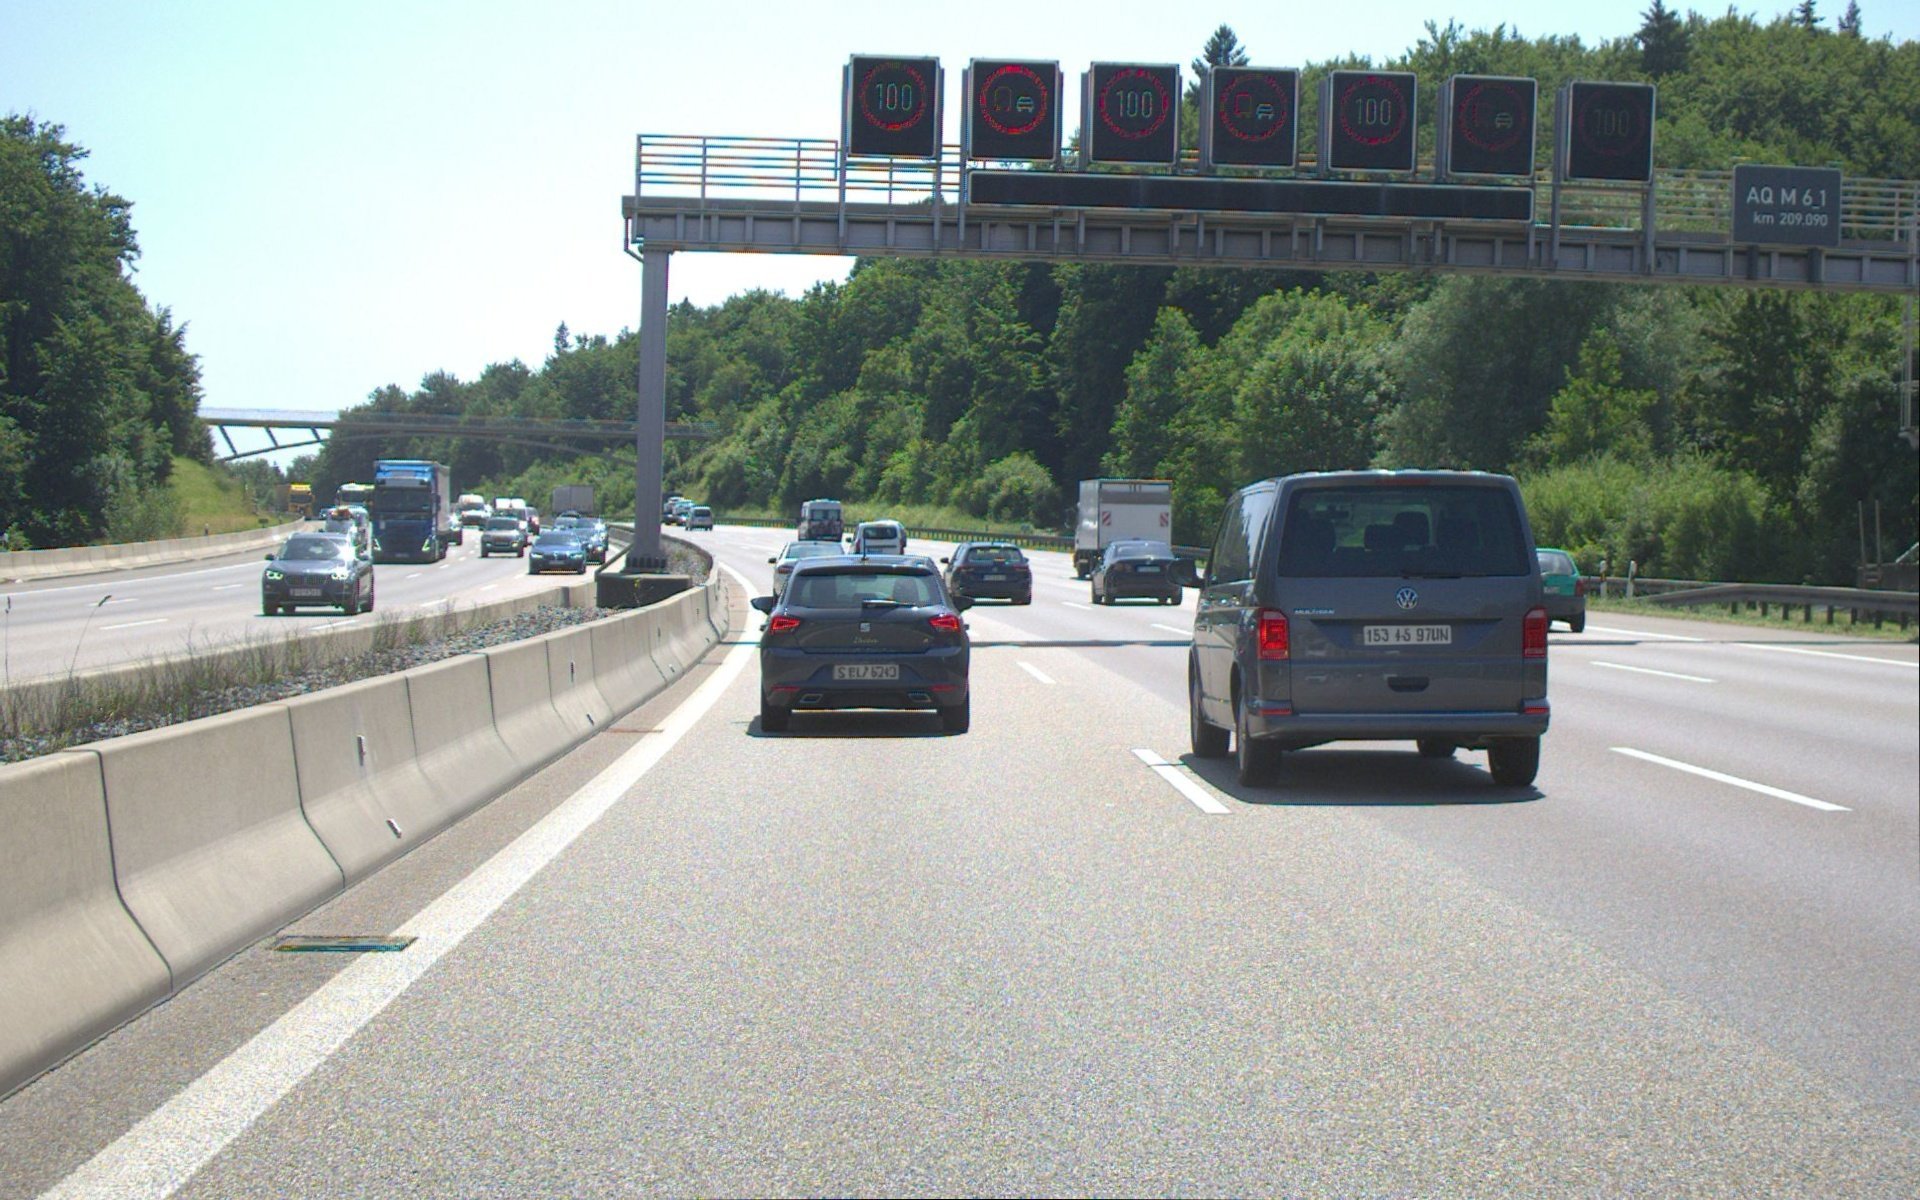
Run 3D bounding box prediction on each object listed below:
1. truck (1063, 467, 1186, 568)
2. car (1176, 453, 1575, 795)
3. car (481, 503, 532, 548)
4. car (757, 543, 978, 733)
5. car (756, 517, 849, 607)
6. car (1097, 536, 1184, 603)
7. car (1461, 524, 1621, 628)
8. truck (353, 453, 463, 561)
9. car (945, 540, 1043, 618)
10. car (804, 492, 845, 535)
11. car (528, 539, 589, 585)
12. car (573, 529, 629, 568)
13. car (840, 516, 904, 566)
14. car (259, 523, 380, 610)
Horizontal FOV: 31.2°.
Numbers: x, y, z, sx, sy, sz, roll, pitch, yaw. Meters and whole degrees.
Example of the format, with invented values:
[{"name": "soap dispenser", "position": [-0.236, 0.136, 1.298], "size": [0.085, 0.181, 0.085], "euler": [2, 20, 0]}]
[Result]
[{"name": "truck", "position": [5.299, -2.718, 112.224], "size": [2.985, 3.156, 7.576], "euler": [0, 2, -5]}, {"name": "car", "position": [2.628, 0.103, 22.943], "size": [1.963, 2.026, 5.084], "euler": [0, 1, -1]}, {"name": "car", "position": [-20.160, -3.312, 152.977], "size": [1.993, 1.960, 4.784], "euler": [0, 1, -5]}, {"name": "car", "position": [-0.780, 0.268, 28.994], "size": [1.708, 1.428, 4.001], "euler": [1, 1, -2]}, {"name": "car", "position": [-3.526, -0.813, 76.785], "size": [2.012, 1.839, 4.000], "euler": [0, -2, -3]}, {"name": "car", "position": [4.083, -0.716, 78.210], "size": [1.665, 1.403, 4.904], "euler": [1, 2, -1]}, {"name": "car", "position": [9.915, -0.426, 58.944], "size": [1.993, 1.722, 4.000], "euler": [0, 1, -1]}, {"name": "truck", "position": [-22.221, -3.716, 138.721], "size": [3.785, 4.163, 5.880], "euler": [1, 1, -4]}, {"name": "car", "position": [0.752, -0.471, 78.663], "size": [1.993, 1.722, 4.149], "euler": [0, 0, -3]}, {"name": "car", "position": [-7.677, -4.896, 195.316], "size": [2.265, 2.363, 4.702], "euler": [0, 1, -2]}, {"name": "car", "position": [-13.810, -1.290, 118.369], "size": [1.853, 1.513, 4.522], "euler": [0, 0, -4]}, {"name": "car", "position": [-14.257, -2.061, 136.679], "size": [1.956, 1.513, 5.134], "euler": [0, 1, -3]}, {"name": "car", "position": [-3.203, -2.145, 124.290], "size": [2.103, 1.738, 4.688], "euler": [0, 2, -4]}, {"name": "car", "position": [-12.717, -0.697, 68.513], "size": [1.754, 1.629, 4.639], "euler": [0, 2, -3]}]
